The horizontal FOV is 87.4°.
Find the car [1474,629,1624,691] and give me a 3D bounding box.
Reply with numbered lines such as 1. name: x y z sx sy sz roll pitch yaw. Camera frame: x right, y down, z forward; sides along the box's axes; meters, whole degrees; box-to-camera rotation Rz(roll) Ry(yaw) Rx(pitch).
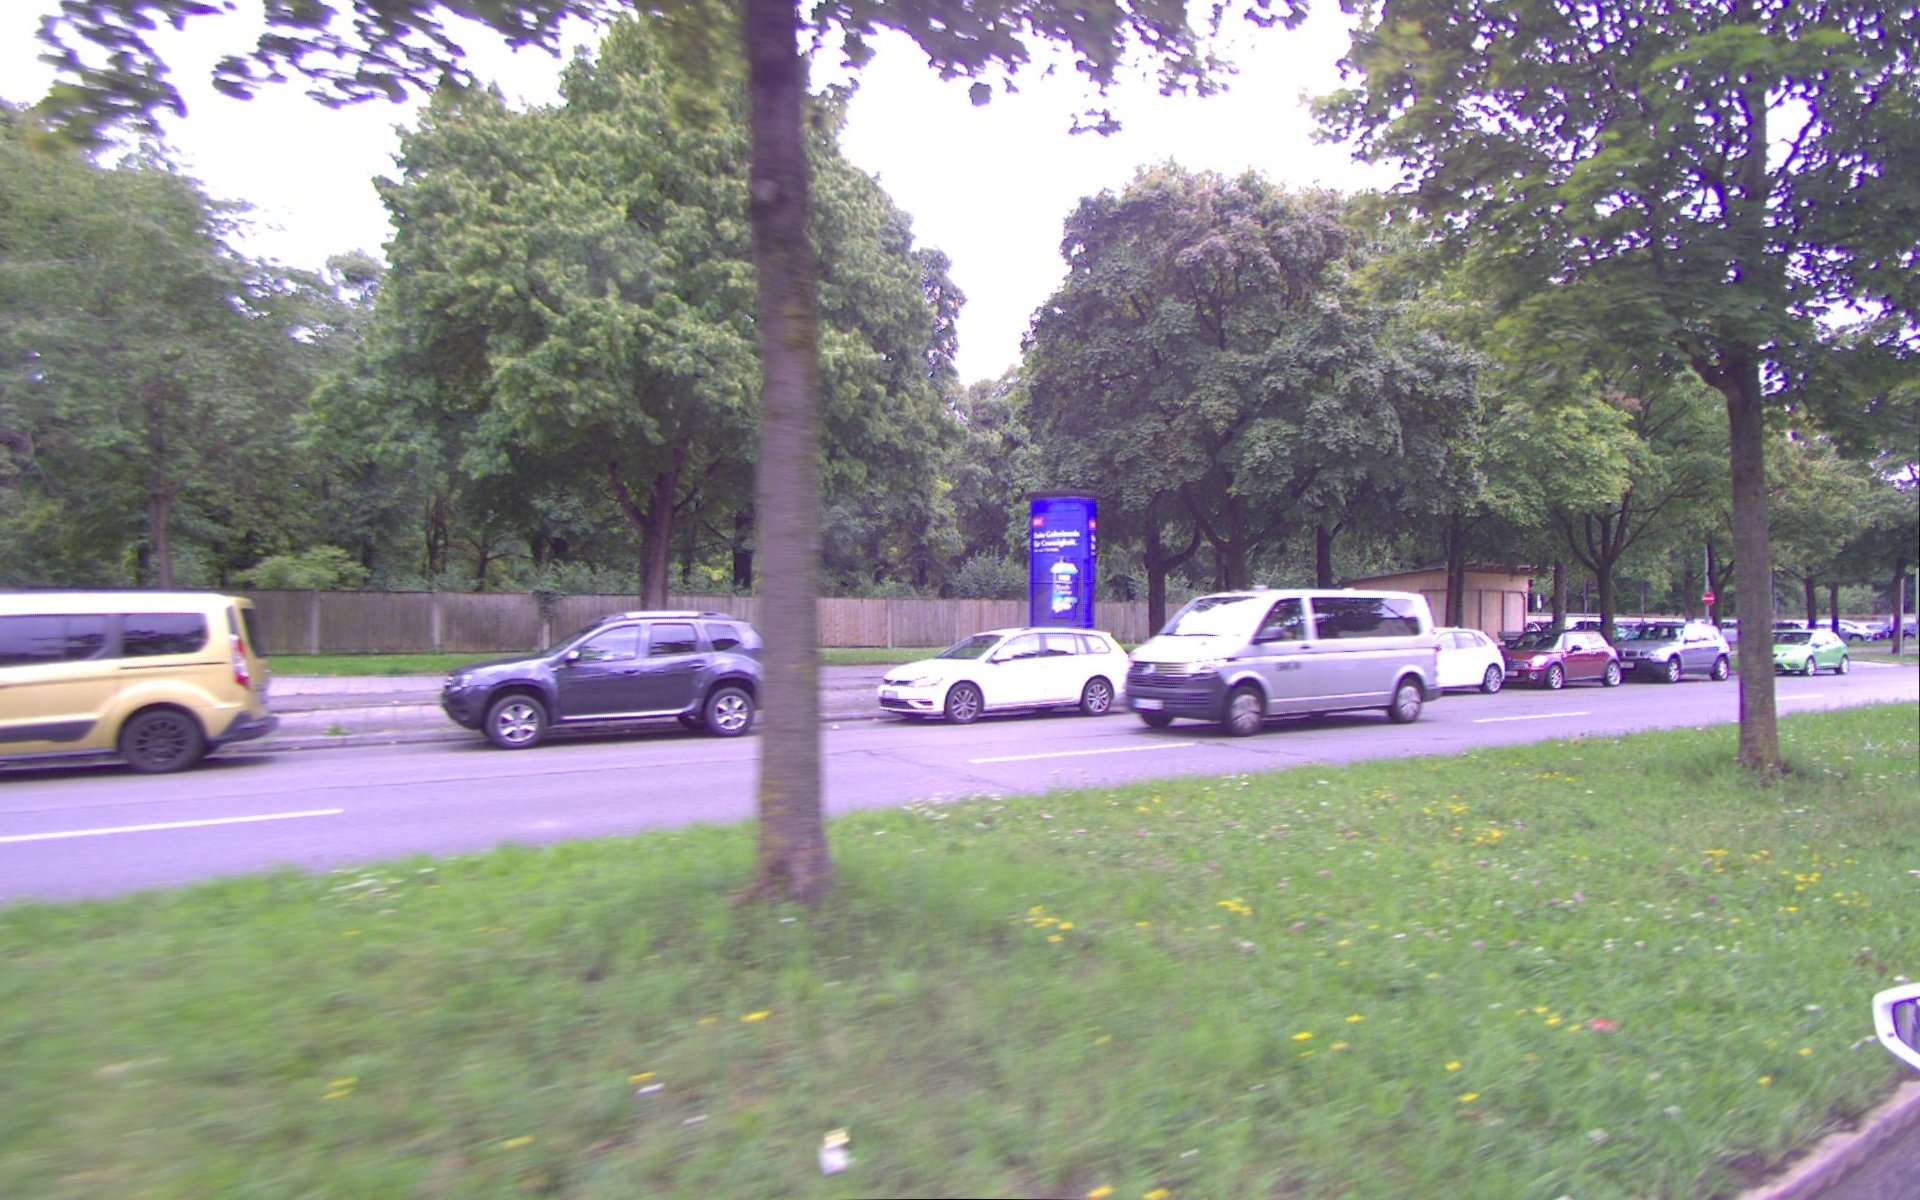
1. car: 14.593 1.450 24.850 3.585 1.415 1.584 1 -2 -29

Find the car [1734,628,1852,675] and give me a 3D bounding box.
1. car: 26.534 1.610 31.992 3.830 1.428 1.542 1 -2 -28

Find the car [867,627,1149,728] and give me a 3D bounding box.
1. car: 0.851 1.205 16.671 4.480 1.469 1.754 1 -2 -31

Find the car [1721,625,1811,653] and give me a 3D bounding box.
1. car: 47.864 2.294 59.715 1.656 1.465 3.841 1 0 -35

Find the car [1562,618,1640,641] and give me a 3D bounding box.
1. car: 46.588 2.154 73.094 1.652 1.496 4.486 2 0 -29

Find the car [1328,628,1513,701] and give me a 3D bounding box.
1. car: 10.254 1.374 22.310 4.229 1.463 1.600 1 -2 -30

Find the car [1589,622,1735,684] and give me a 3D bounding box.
1. car: 19.393 1.415 27.703 4.321 1.607 1.682 1 -2 -31

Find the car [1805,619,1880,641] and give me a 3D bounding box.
1. car: 64.483 2.175 73.471 1.656 1.465 3.841 1 0 -35

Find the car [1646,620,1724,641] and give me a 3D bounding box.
1. car: 56.144 2.362 77.846 1.652 1.465 4.670 1 0 -29

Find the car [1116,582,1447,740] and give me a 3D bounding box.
1. car: 4.740 0.835 14.573 4.937 1.959 1.791 1 -2 -31

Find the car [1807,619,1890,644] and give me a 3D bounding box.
1. car: 58.509 2.061 66.178 1.656 1.465 3.841 1 0 -35

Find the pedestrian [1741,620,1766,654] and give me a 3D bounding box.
1. pedestrian: 37.637 1.750 47.648 0.712 1.554 0.724 1 0 -29

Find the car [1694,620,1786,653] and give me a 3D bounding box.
1. car: 45.201 2.097 58.245 1.656 1.741 3.893 1 0 -35

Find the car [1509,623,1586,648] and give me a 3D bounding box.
1. car: 31.697 1.888 54.334 1.639 1.217 4.421 1 0 2

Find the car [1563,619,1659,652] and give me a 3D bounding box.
1. car: 31.644 1.694 48.970 1.922 1.465 4.421 1 0 2

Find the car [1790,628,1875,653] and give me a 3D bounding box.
1. car: 55.875 2.559 64.384 1.656 1.465 3.841 1 0 -35

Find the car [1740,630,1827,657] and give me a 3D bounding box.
1. car: 50.661 2.630 61.841 1.656 1.465 3.841 1 0 -35

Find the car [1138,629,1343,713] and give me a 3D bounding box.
1. car: 5.375 1.288 19.099 3.855 1.436 1.604 1 -2 -33

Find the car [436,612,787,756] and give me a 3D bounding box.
1. car: -4.614 1.023 13.477 4.207 1.667 1.728 1 -2 -31

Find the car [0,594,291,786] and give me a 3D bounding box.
1. car: -9.723 0.878 10.154 4.759 1.806 1.807 1 -2 -30
